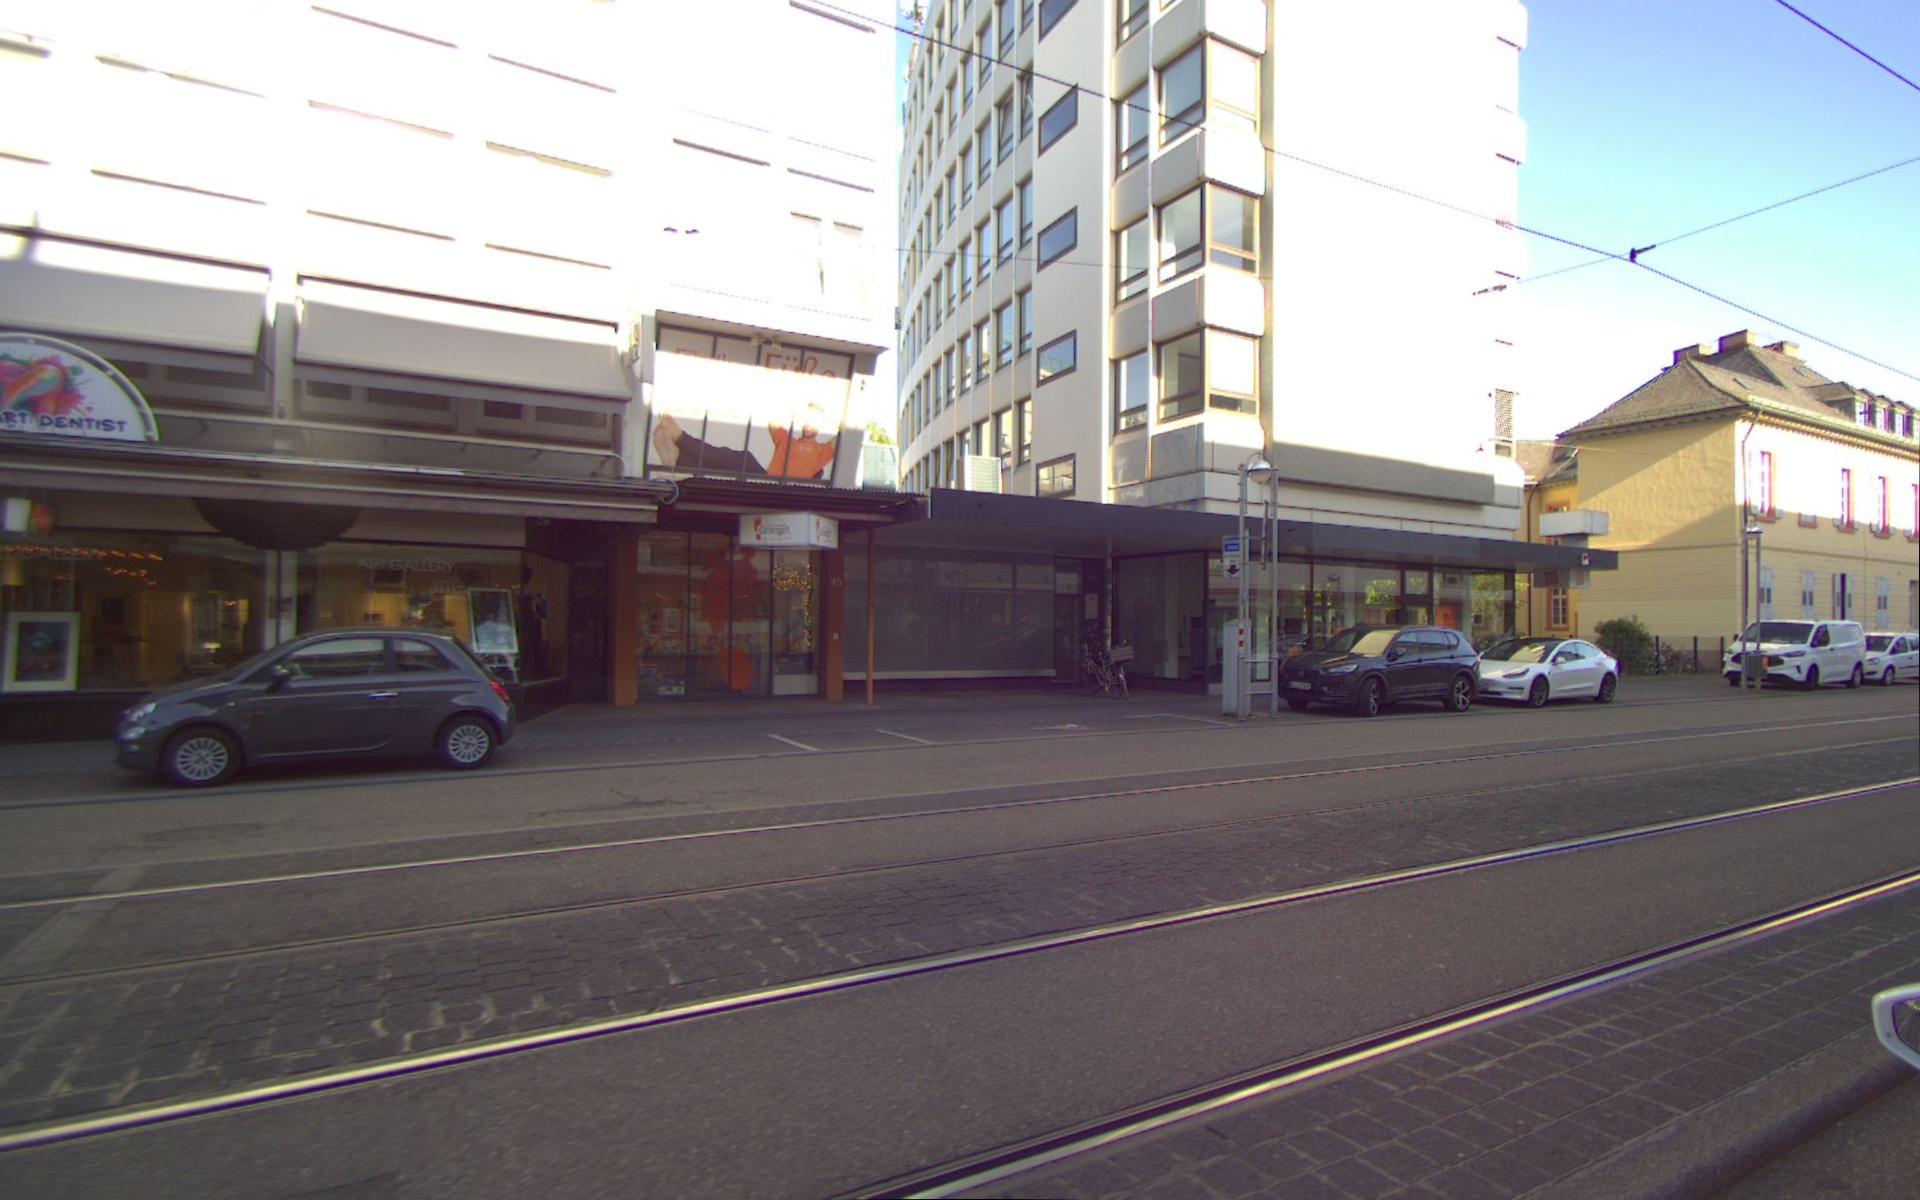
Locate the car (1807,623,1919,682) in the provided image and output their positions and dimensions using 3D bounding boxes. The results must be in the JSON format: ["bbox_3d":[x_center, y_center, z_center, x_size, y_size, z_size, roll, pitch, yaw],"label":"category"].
[{"bbox_3d":[29.330,1.660,32.154,4.590,1.708,1.800,2,0,-28],"label":"car"}]

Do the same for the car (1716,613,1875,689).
[{"bbox_3d":[24.395,1.458,29.290,5.038,2.001,1.983,2,0,-31],"label":"car"}]

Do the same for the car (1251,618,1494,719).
[{"bbox_3d":[8.068,1.276,19.573,4.600,1.701,1.969,2,0,-30],"label":"car"}]

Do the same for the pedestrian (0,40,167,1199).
[{"bbox_3d":[-1.359,0.439,1.012,0.738,1.861,0.800,1,-3,-32],"label":"pedestrian"}]

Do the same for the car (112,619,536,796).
[{"bbox_3d":[-6.579,1.025,10.718,3.551,1.544,1.591,2,0,-33],"label":"car"}]

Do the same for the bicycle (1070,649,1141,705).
[{"bbox_3d":[3.025,1.585,21.125,0.376,1.012,1.928,1,0,-29],"label":"bicycle"}]

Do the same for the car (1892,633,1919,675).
[{"bbox_3d":[34.353,1.906,35.143,3.677,1.419,1.606,2,0,-31],"label":"car"}]

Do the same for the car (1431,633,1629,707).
[{"bbox_3d":[12.802,1.510,22.490,4.604,1.440,1.878,2,0,-32],"label":"car"}]

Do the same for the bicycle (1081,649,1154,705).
[{"bbox_3d":[3.333,1.616,21.435,0.418,1.012,1.928,1,0,-29],"label":"bicycle"}]
